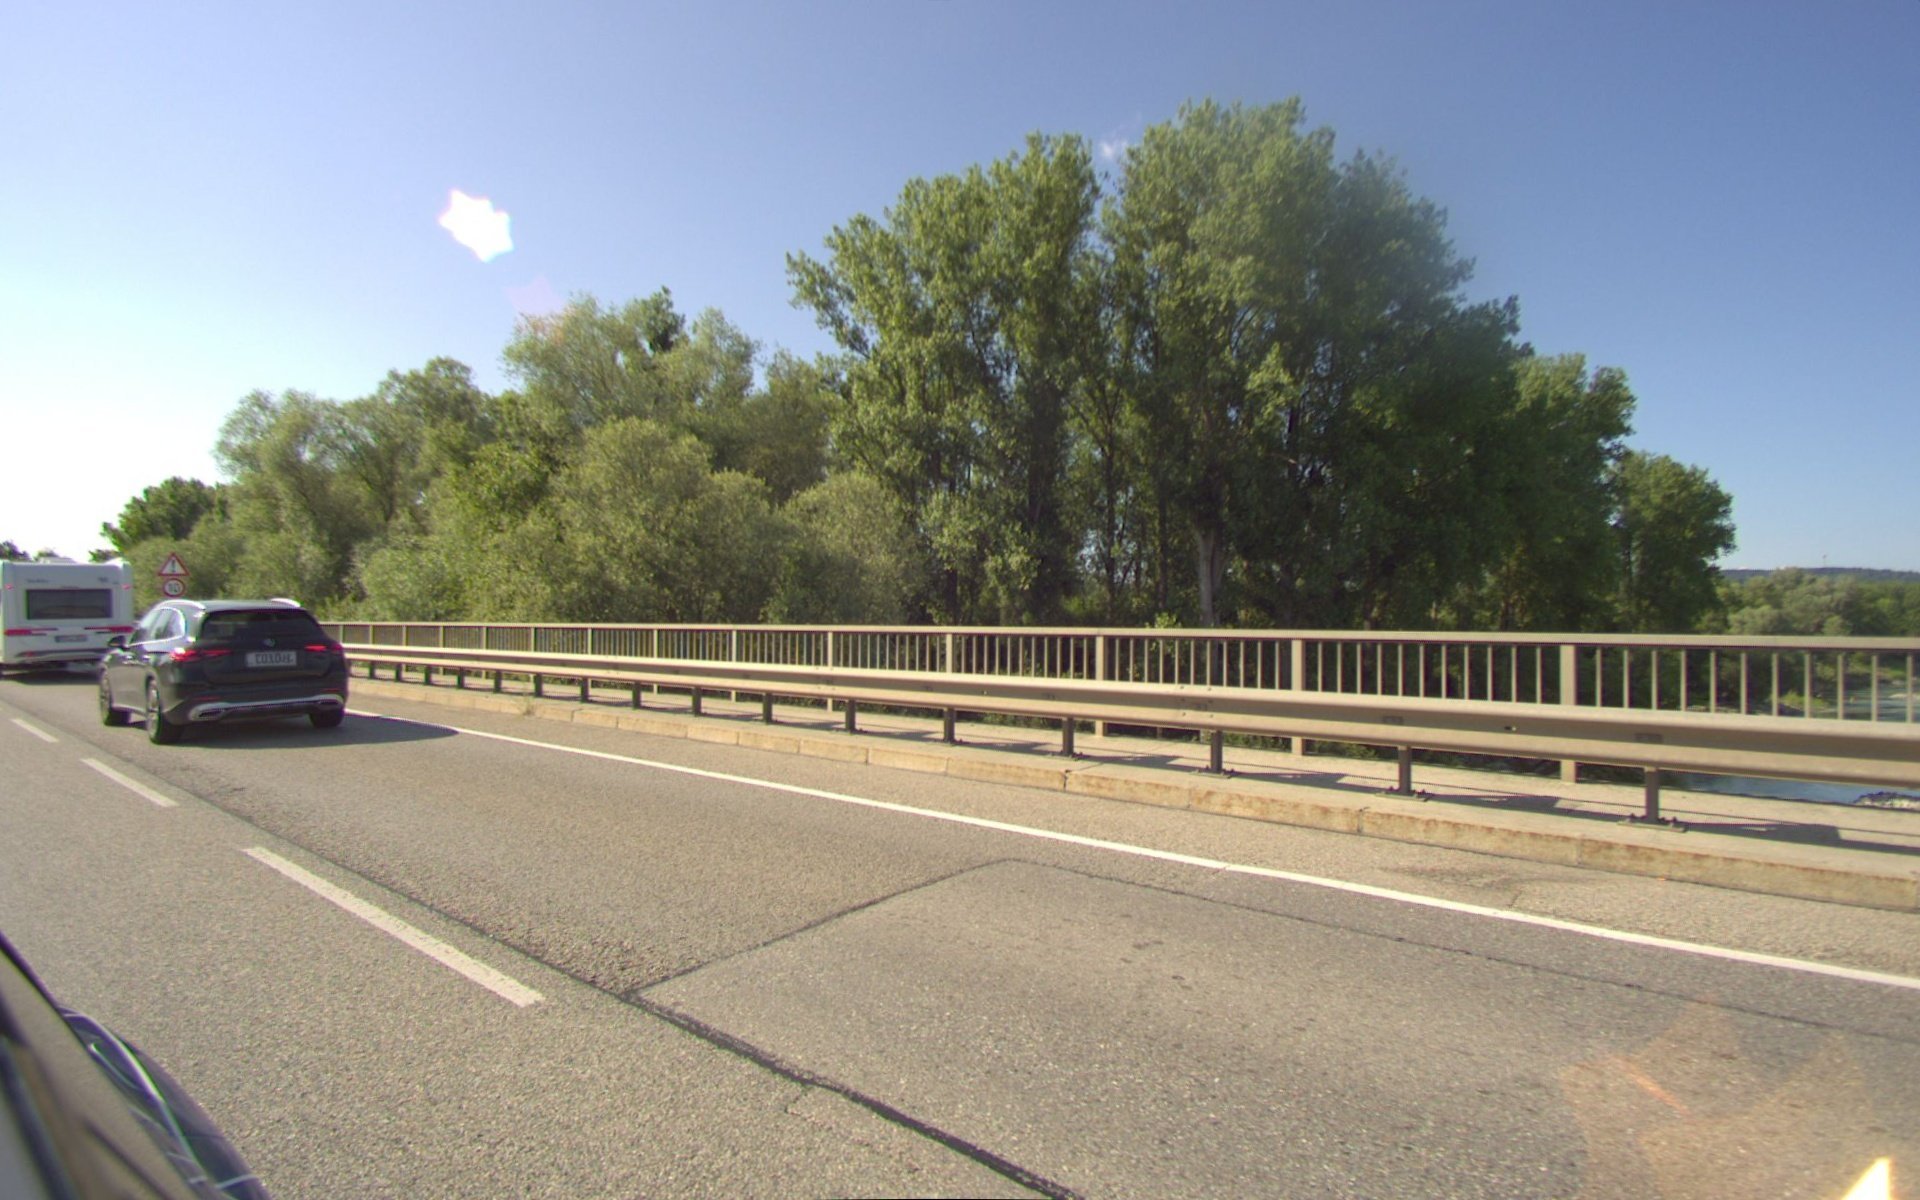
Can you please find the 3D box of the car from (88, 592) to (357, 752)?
[{"bbox_3d":[-9.390,0.787,12.747,4.430,1.673,1.784,-1,-1,41],"label":"car"}]

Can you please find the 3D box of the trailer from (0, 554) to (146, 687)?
[{"bbox_3d":[-22.270,0.511,24.620,8.060,2.758,2.528,-2,0,42],"label":"trailer"}]

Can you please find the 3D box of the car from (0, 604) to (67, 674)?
[{"bbox_3d":[-27.139,1.072,28.869,5.007,1.868,1.962,-1,-1,42],"label":"car"}]
